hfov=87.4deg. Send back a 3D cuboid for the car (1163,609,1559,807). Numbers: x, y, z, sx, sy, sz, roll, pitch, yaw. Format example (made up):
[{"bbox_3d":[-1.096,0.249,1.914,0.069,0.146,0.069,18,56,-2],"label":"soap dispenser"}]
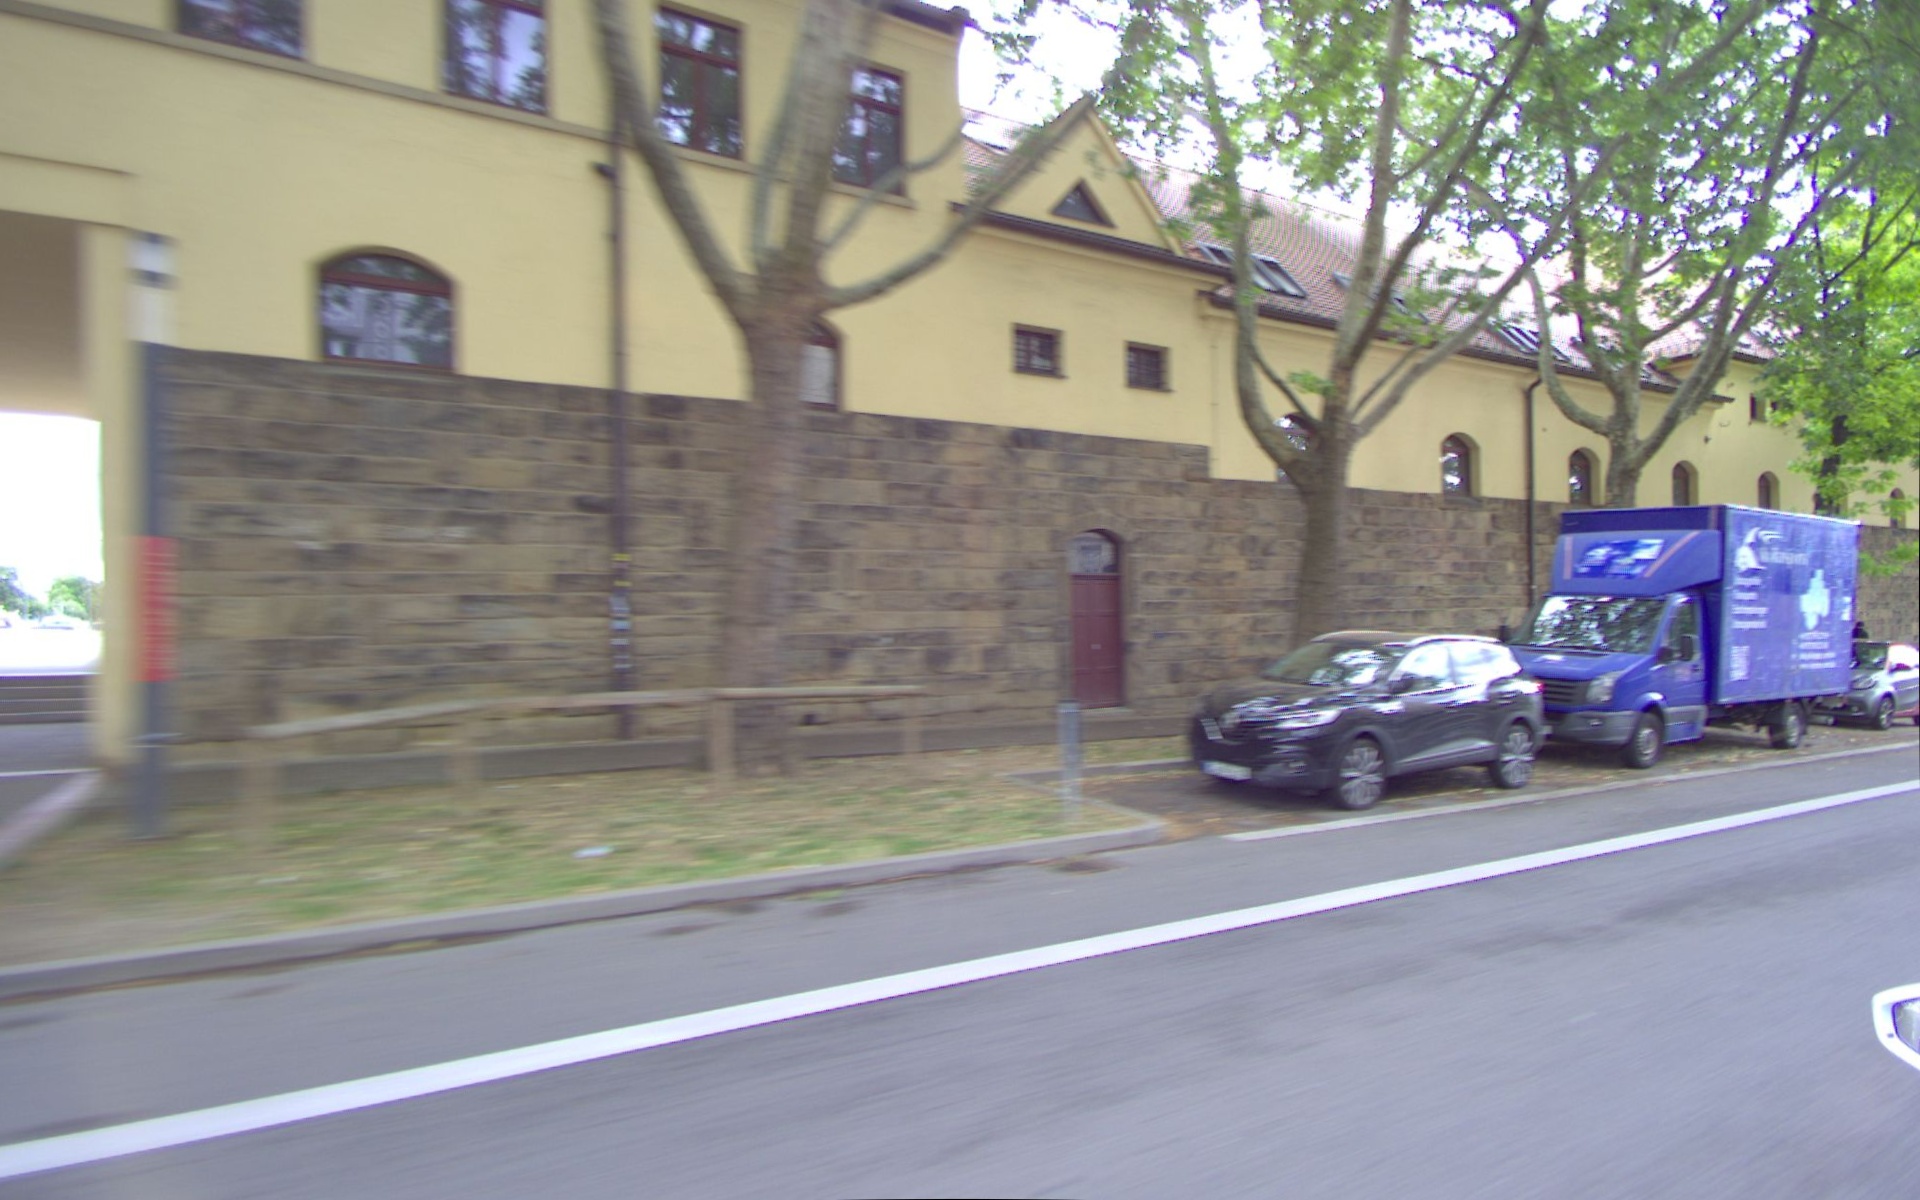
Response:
[{"bbox_3d":[4.320,1.009,10.639,4.205,1.711,1.722,2,0,-32],"label":"car"}]

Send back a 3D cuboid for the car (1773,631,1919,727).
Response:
[{"bbox_3d":[16.650,1.416,18.583,2.955,1.594,1.474,2,0,-28],"label":"car"}]

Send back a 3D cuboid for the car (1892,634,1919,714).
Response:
[{"bbox_3d":[21.400,1.573,21.238,4.044,1.594,1.584,2,0,-34],"label":"car"}]

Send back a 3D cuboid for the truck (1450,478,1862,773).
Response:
[{"bbox_3d":[10.312,0.357,14.603,7.165,3.462,2.203,1,0,-32],"label":"truck"}]

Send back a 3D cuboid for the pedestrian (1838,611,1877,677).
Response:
[{"bbox_3d":[25.205,1.234,28.199,0.734,1.823,0.589,2,0,-30],"label":"pedestrian"}]
